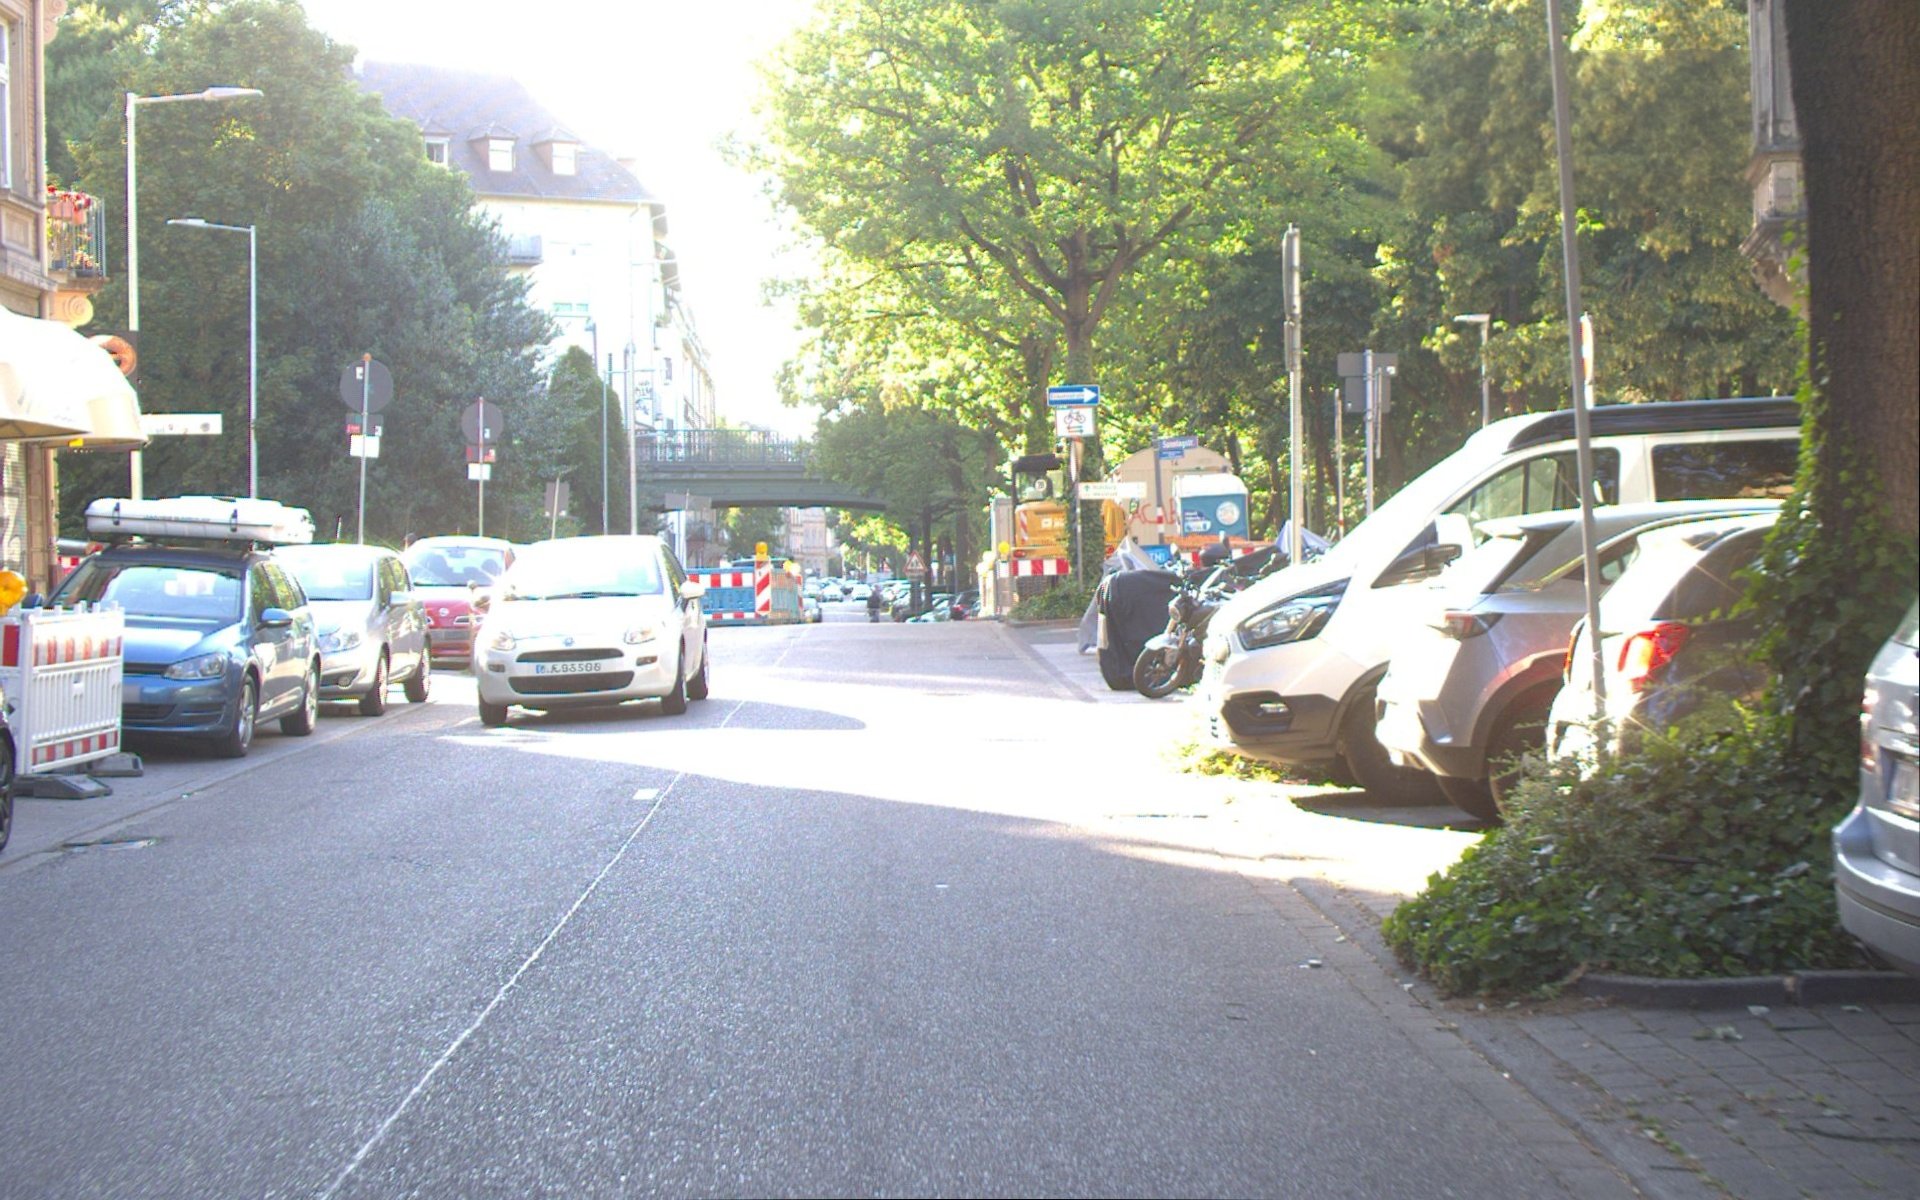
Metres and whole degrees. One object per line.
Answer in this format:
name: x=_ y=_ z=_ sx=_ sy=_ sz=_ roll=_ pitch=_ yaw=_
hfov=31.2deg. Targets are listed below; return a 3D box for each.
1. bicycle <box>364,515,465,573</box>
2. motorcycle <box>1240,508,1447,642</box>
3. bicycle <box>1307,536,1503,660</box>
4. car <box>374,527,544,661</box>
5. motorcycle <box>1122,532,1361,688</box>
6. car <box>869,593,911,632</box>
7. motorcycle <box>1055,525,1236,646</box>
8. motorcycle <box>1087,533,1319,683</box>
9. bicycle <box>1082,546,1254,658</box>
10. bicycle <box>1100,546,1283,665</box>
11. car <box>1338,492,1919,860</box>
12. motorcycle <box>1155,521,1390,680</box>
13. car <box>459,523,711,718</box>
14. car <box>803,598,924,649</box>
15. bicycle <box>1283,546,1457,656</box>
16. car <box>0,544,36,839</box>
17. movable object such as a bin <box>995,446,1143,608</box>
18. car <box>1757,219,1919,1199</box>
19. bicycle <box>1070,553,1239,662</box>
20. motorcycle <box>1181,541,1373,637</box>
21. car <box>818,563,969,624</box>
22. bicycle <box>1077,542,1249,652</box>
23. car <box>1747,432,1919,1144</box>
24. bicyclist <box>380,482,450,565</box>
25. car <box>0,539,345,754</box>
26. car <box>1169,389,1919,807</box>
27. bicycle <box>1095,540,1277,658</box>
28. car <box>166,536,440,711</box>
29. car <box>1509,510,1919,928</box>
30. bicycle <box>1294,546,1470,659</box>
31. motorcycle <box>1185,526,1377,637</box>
bicycle: x=-9.192 y=-0.943 z=57.900 sx=0.803 sy=0.965 sz=2.108 roll=0 pitch=1 yaw=-36
motorcycle: x=4.484 y=-0.297 z=40.234 sx=2.282 sy=1.526 sz=0.756 roll=-1 pitch=1 yaw=-7
bicycle: x=4.548 y=-0.029 z=35.153 sx=1.924 sy=1.242 sz=0.480 roll=-1 pitch=1 yaw=-7
car: x=-5.976 y=-0.106 z=41.365 sx=1.669 sy=1.525 sz=4.001 roll=0 pitch=1 yaw=-3
motorcycle: x=2.474 y=0.079 z=30.287 sx=2.014 sy=1.322 sz=0.621 roll=-1 pitch=1 yaw=-5
car: x=-3.070 y=0.525 z=150.696 sx=1.775 sy=1.604 sz=4.402 roll=-1 pitch=1 yaw=-1
motorcycle: x=2.203 y=-0.177 z=40.840 sx=1.935 sy=1.408 sz=0.939 roll=0 pitch=1 yaw=27
motorcycle: x=2.261 y=0.063 z=32.191 sx=2.023 sy=1.280 sz=0.904 roll=-3 pitch=1 yaw=-2
bicycle: x=2.358 y=0.020 z=39.027 sx=1.924 sy=1.242 sz=0.303 roll=-1 pitch=1 yaw=-7
bicycle: x=2.470 y=0.057 z=36.685 sx=1.924 sy=1.242 sz=0.303 roll=-1 pitch=1 yaw=-7
car: x=3.806 y=0.302 z=16.106 sx=3.840 sy=1.590 sz=1.741 roll=-1 pitch=1 yaw=-1
motorcycle: x=2.827 y=-0.002 z=31.218 sx=2.023 sy=1.357 sz=0.694 roll=-2 pitch=1 yaw=0
car: x=-3.098 y=0.115 z=29.069 sx=1.749 sy=1.504 sz=4.000 roll=-1 pitch=1 yaw=-1
car: x=-3.563 y=0.860 z=126.723 sx=4.387 sy=1.779 sz=1.917 roll=1 pitch=-2 yaw=-3
bicycle: x=4.711 y=0.006 z=39.533 sx=1.924 sy=1.242 sz=0.452 roll=-1 pitch=1 yaw=-7
car: x=-5.539 y=0.497 z=15.648 sx=1.703 sy=1.449 sz=4.021 roll=-1 pitch=1 yaw=-2
movable object such as a bin: x=1.894 y=-1.242 z=59.069 sx=1.994 sy=2.690 sz=3.109 roll=0 pitch=1 yaw=12
car: x=3.968 y=0.304 z=6.004 sx=4.614 sy=2.007 sz=2.000 roll=-1 pitch=1 yaw=-3
bicycle: x=2.246 y=0.082 z=39.731 sx=1.924 sy=1.242 sz=0.303 roll=-1 pitch=1 yaw=-7
motorcycle: x=3.976 y=-0.140 z=43.030 sx=2.284 sy=1.176 sz=0.970 roll=0 pitch=1 yaw=12
car: x=-1.997 y=-0.197 z=102.203 sx=4.387 sy=1.696 sz=1.917 roll=1 pitch=-2 yaw=-3
bicycle: x=2.323 y=-0.040 z=39.346 sx=1.924 sy=1.242 sz=0.303 roll=-1 pitch=1 yaw=-7
car: x=4.230 y=0.395 z=8.741 sx=3.986 sy=1.686 sz=1.800 roll=-1 pitch=1 yaw=-2
bicyclist: x=-9.182 y=-1.282 z=57.893 sx=0.803 sy=1.378 sz=0.985 roll=0 pitch=1 yaw=-36
car: x=-5.803 y=0.284 z=25.818 sx=1.764 sy=1.432 sz=4.301 roll=-1 pitch=1 yaw=-2
car: x=3.719 y=-0.046 z=18.750 sx=4.973 sy=2.089 sz=2.106 roll=-1 pitch=1 yaw=-1
bicycle: x=2.436 y=-0.016 z=37.019 sx=1.924 sy=1.242 sz=0.303 roll=-1 pitch=1 yaw=-7
car: x=-5.849 y=0.163 z=31.035 sx=1.725 sy=1.432 sz=3.996 roll=1 pitch=1 yaw=-1
car: x=4.250 y=0.395 z=13.550 sx=3.840 sy=1.510 sz=1.848 roll=-1 pitch=1 yaw=-1
bicycle: x=4.778 y=0.024 z=38.951 sx=1.924 sy=1.242 sz=0.480 roll=-1 pitch=1 yaw=-7
motorcycle: x=3.943 y=-0.224 z=42.150 sx=2.284 sy=1.337 sz=0.656 roll=0 pitch=1 yaw=11
